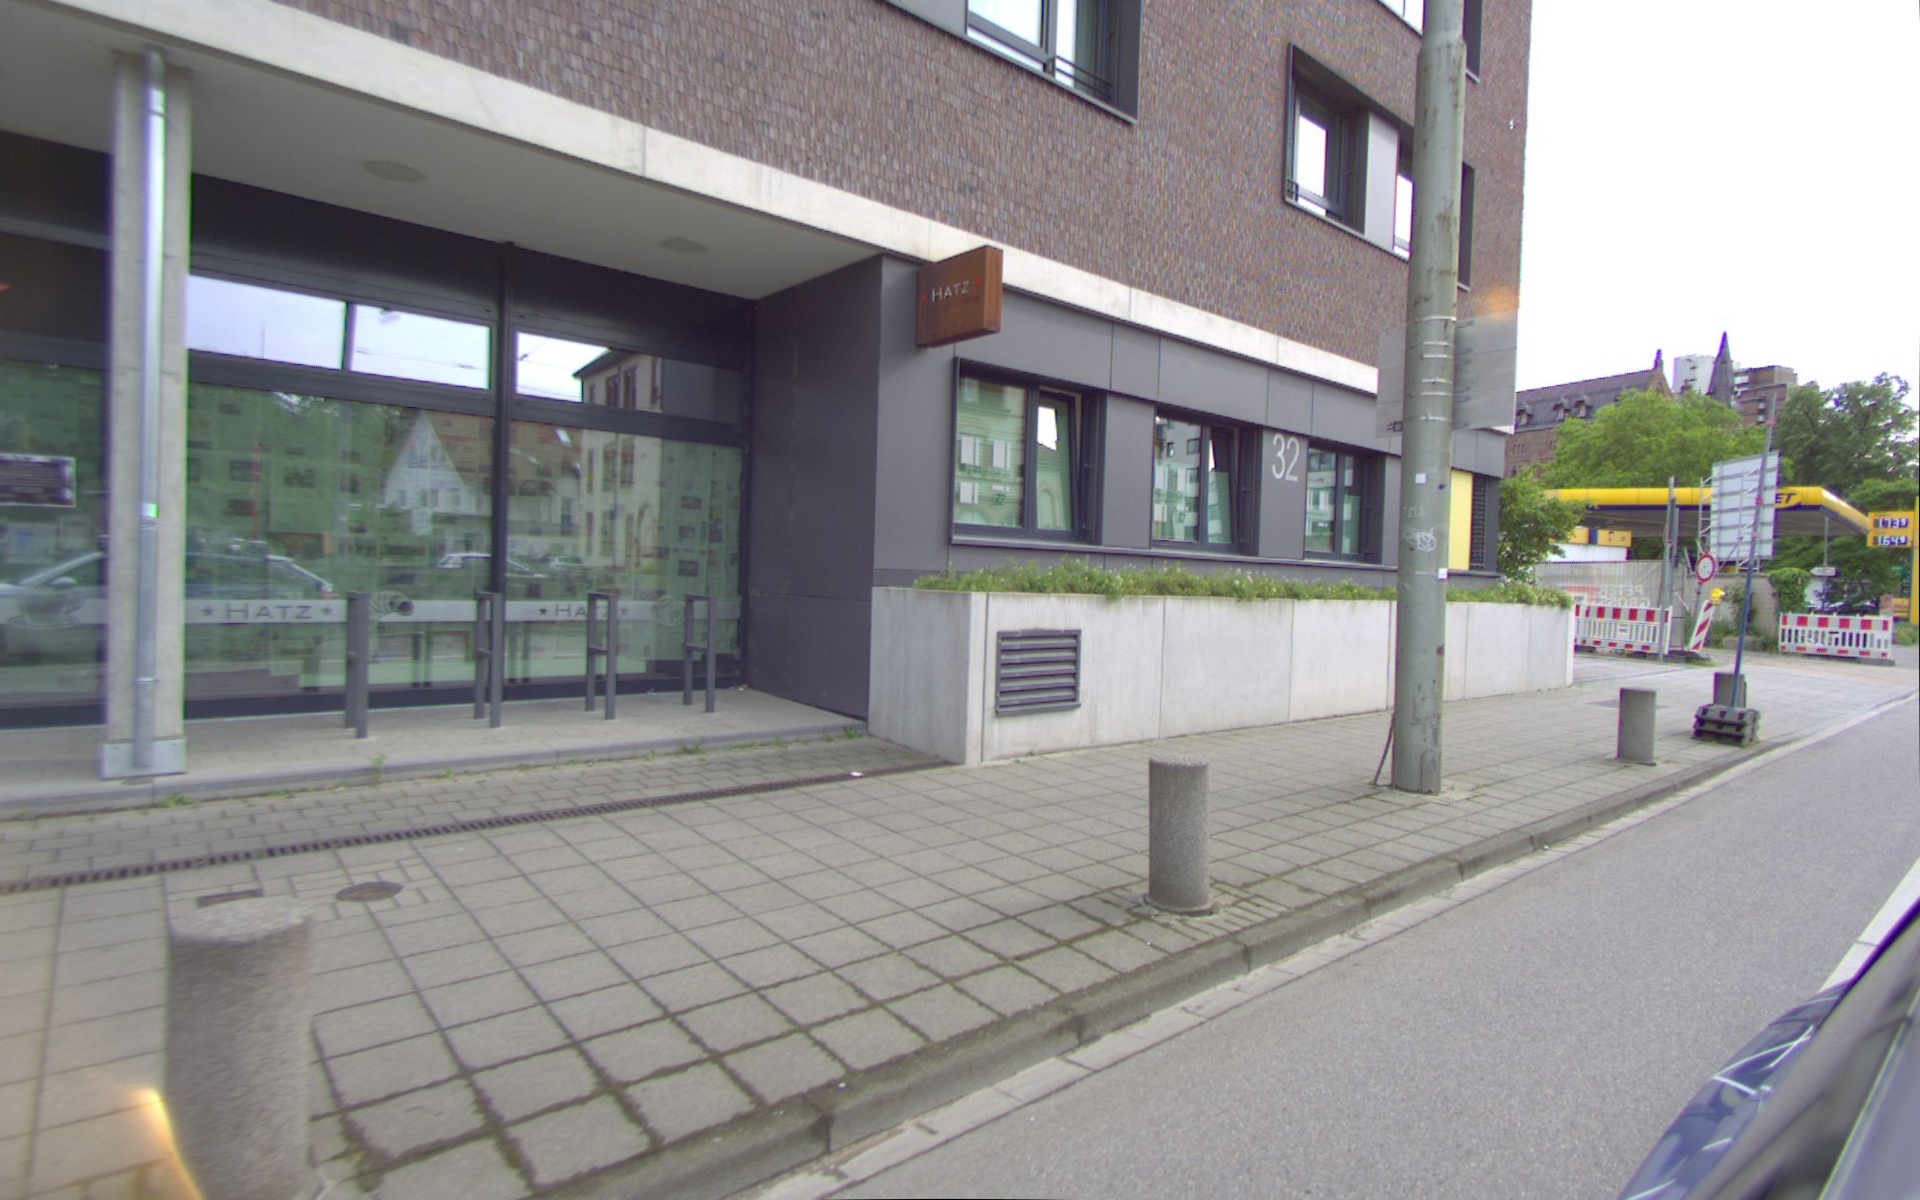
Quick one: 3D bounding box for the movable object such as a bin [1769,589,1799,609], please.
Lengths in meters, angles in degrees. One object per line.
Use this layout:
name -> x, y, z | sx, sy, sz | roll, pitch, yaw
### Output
movable object such as a bin -> 56.211, -0.041, 69.012 | 1.136, 1.336, 1.123 | 0, 1, -13

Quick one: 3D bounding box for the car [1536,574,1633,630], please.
car -> 20.705, 0.004, 33.732 | 1.976, 1.657, 3.923 | 2, 3, 21

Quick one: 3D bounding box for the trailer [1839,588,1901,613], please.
trailer -> 66.233, 0.043, 73.668 | 3.283, 1.549, 1.747 | 4, 5, 43
